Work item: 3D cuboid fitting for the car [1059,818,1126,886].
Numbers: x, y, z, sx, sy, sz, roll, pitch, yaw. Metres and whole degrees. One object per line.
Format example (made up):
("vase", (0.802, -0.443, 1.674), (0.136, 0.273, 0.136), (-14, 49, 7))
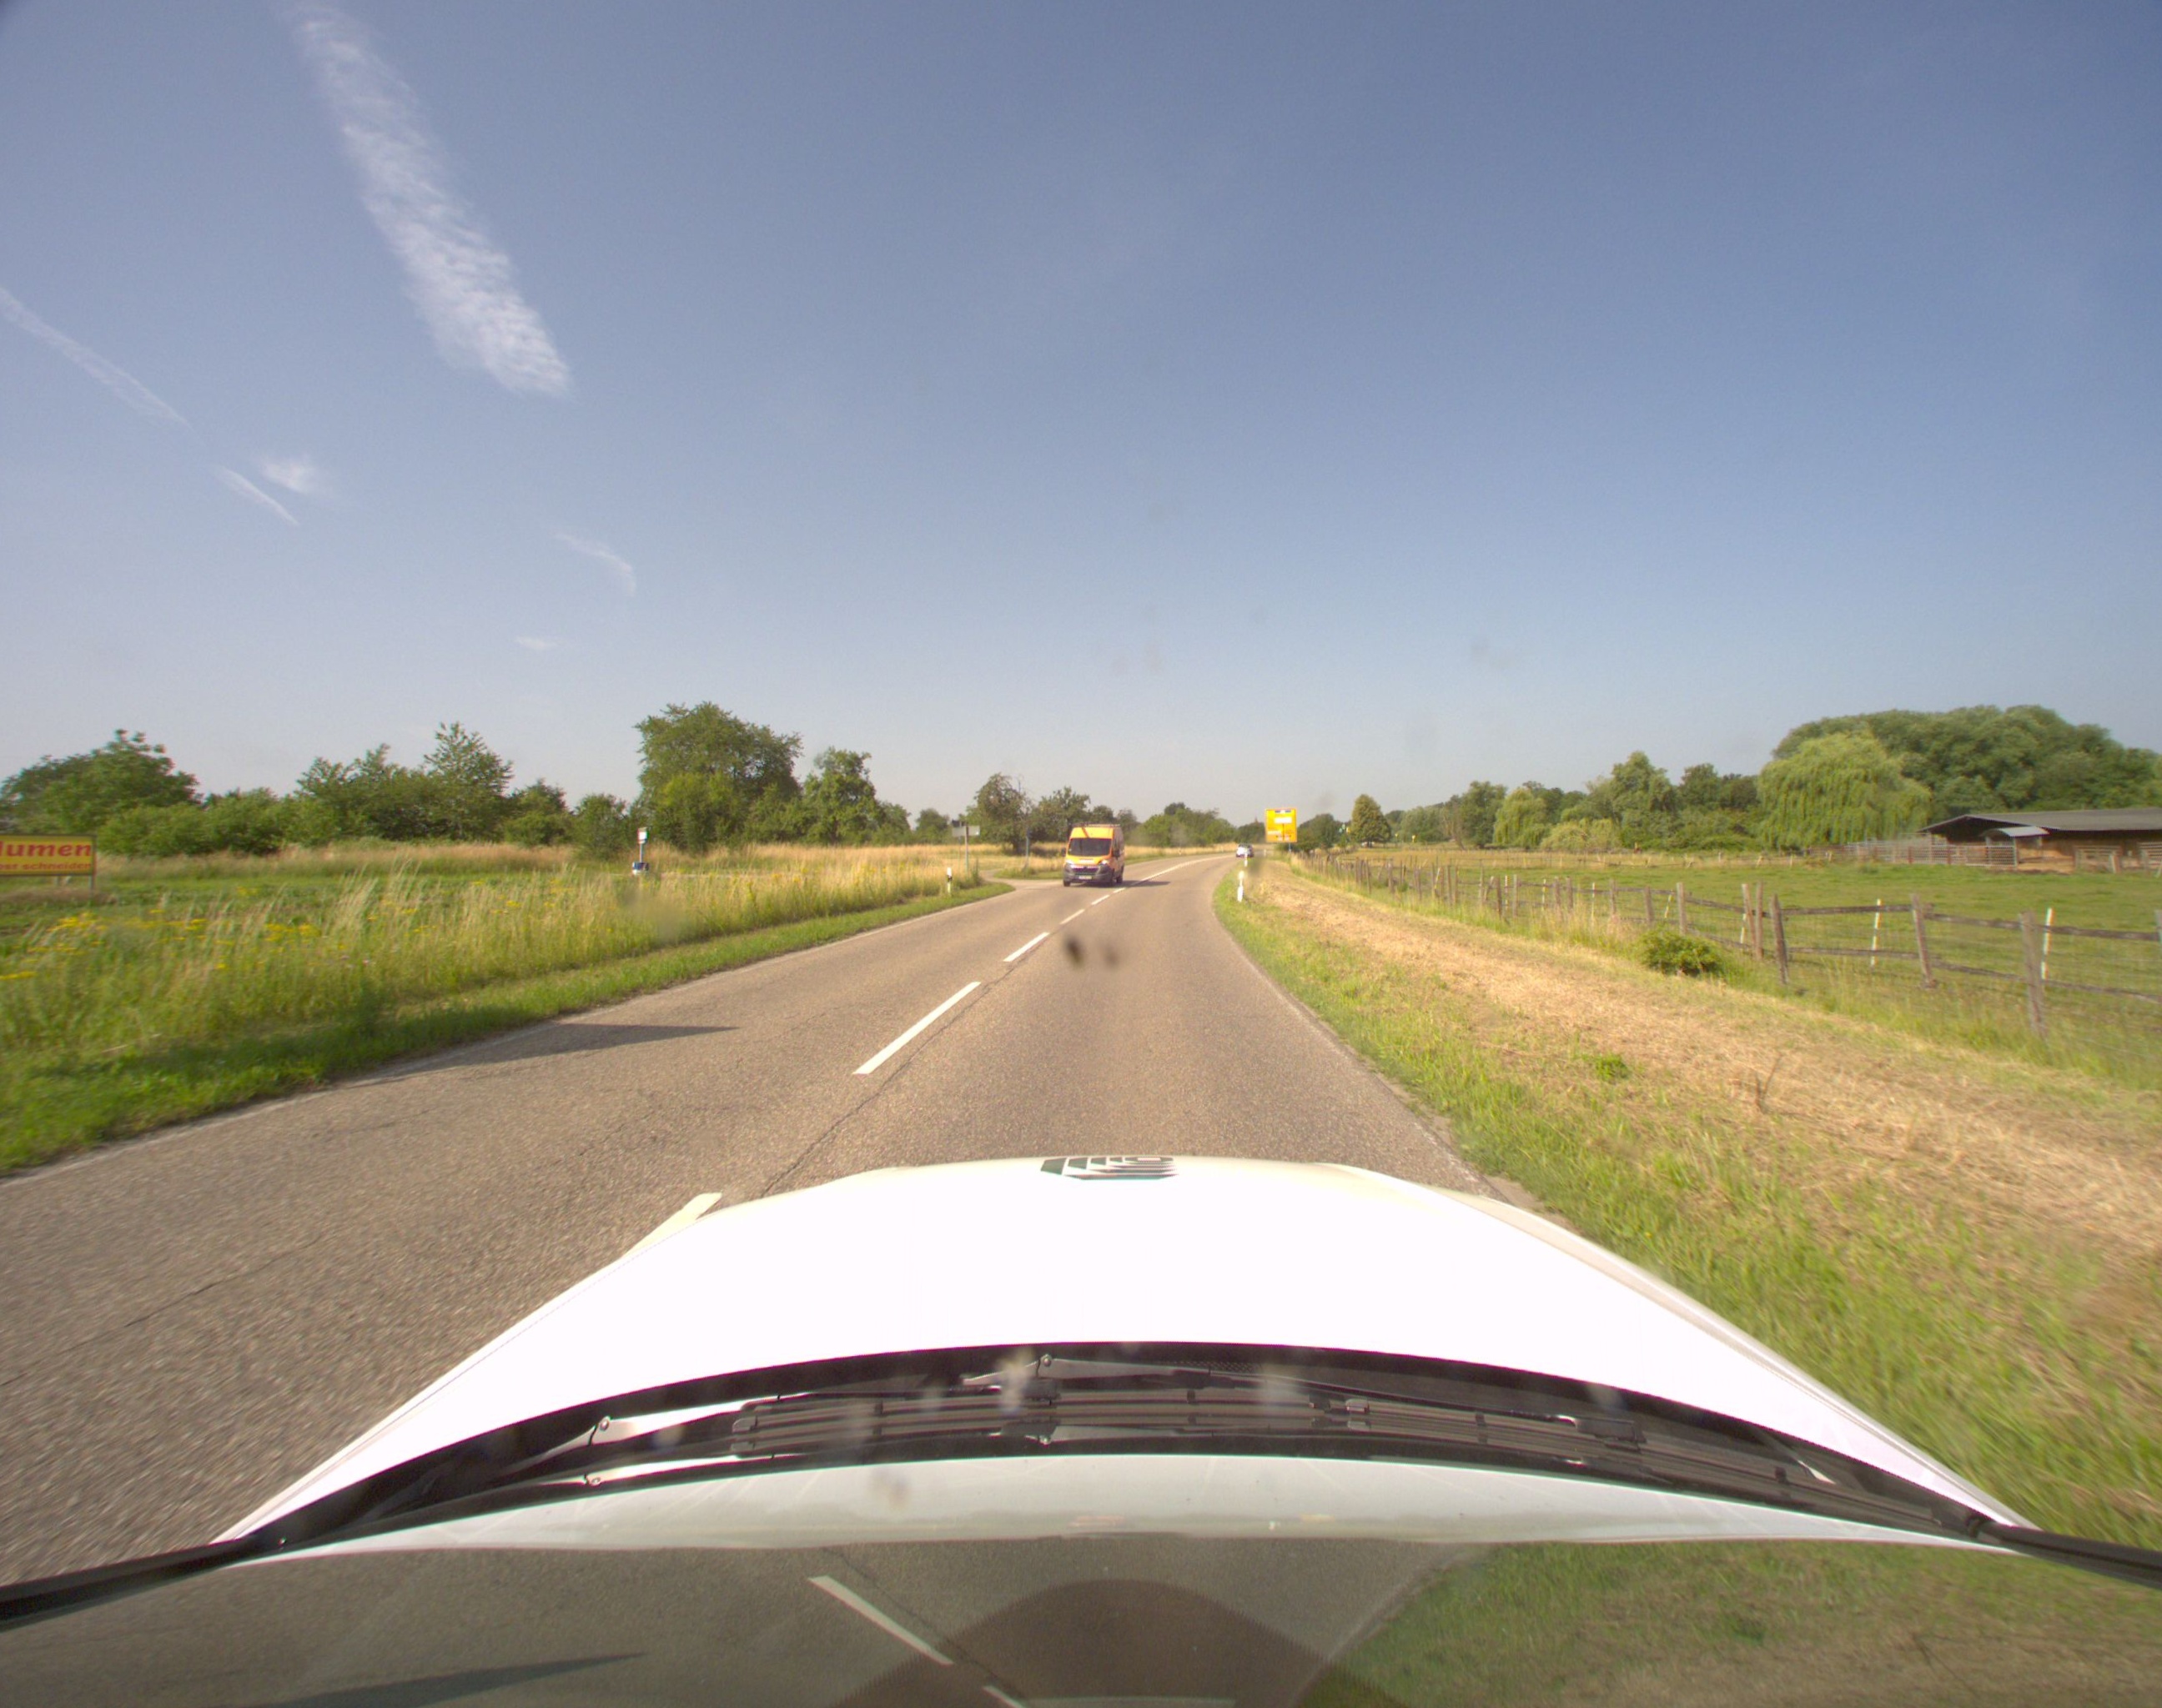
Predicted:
("car", (0.605, -0.107, 34.849), (2.111, 2.696, 5.282), (0, 0, 9))

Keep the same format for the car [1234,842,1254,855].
("car", (19.186, -0.652, 95.926), (1.884, 1.512, 4.018), (0, 0, 17))

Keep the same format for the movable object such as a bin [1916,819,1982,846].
("movable object such as a bin", (74.754, -1.813, 70.224), (1.979, 2.193, 4.180), (-1, 1, 15))
